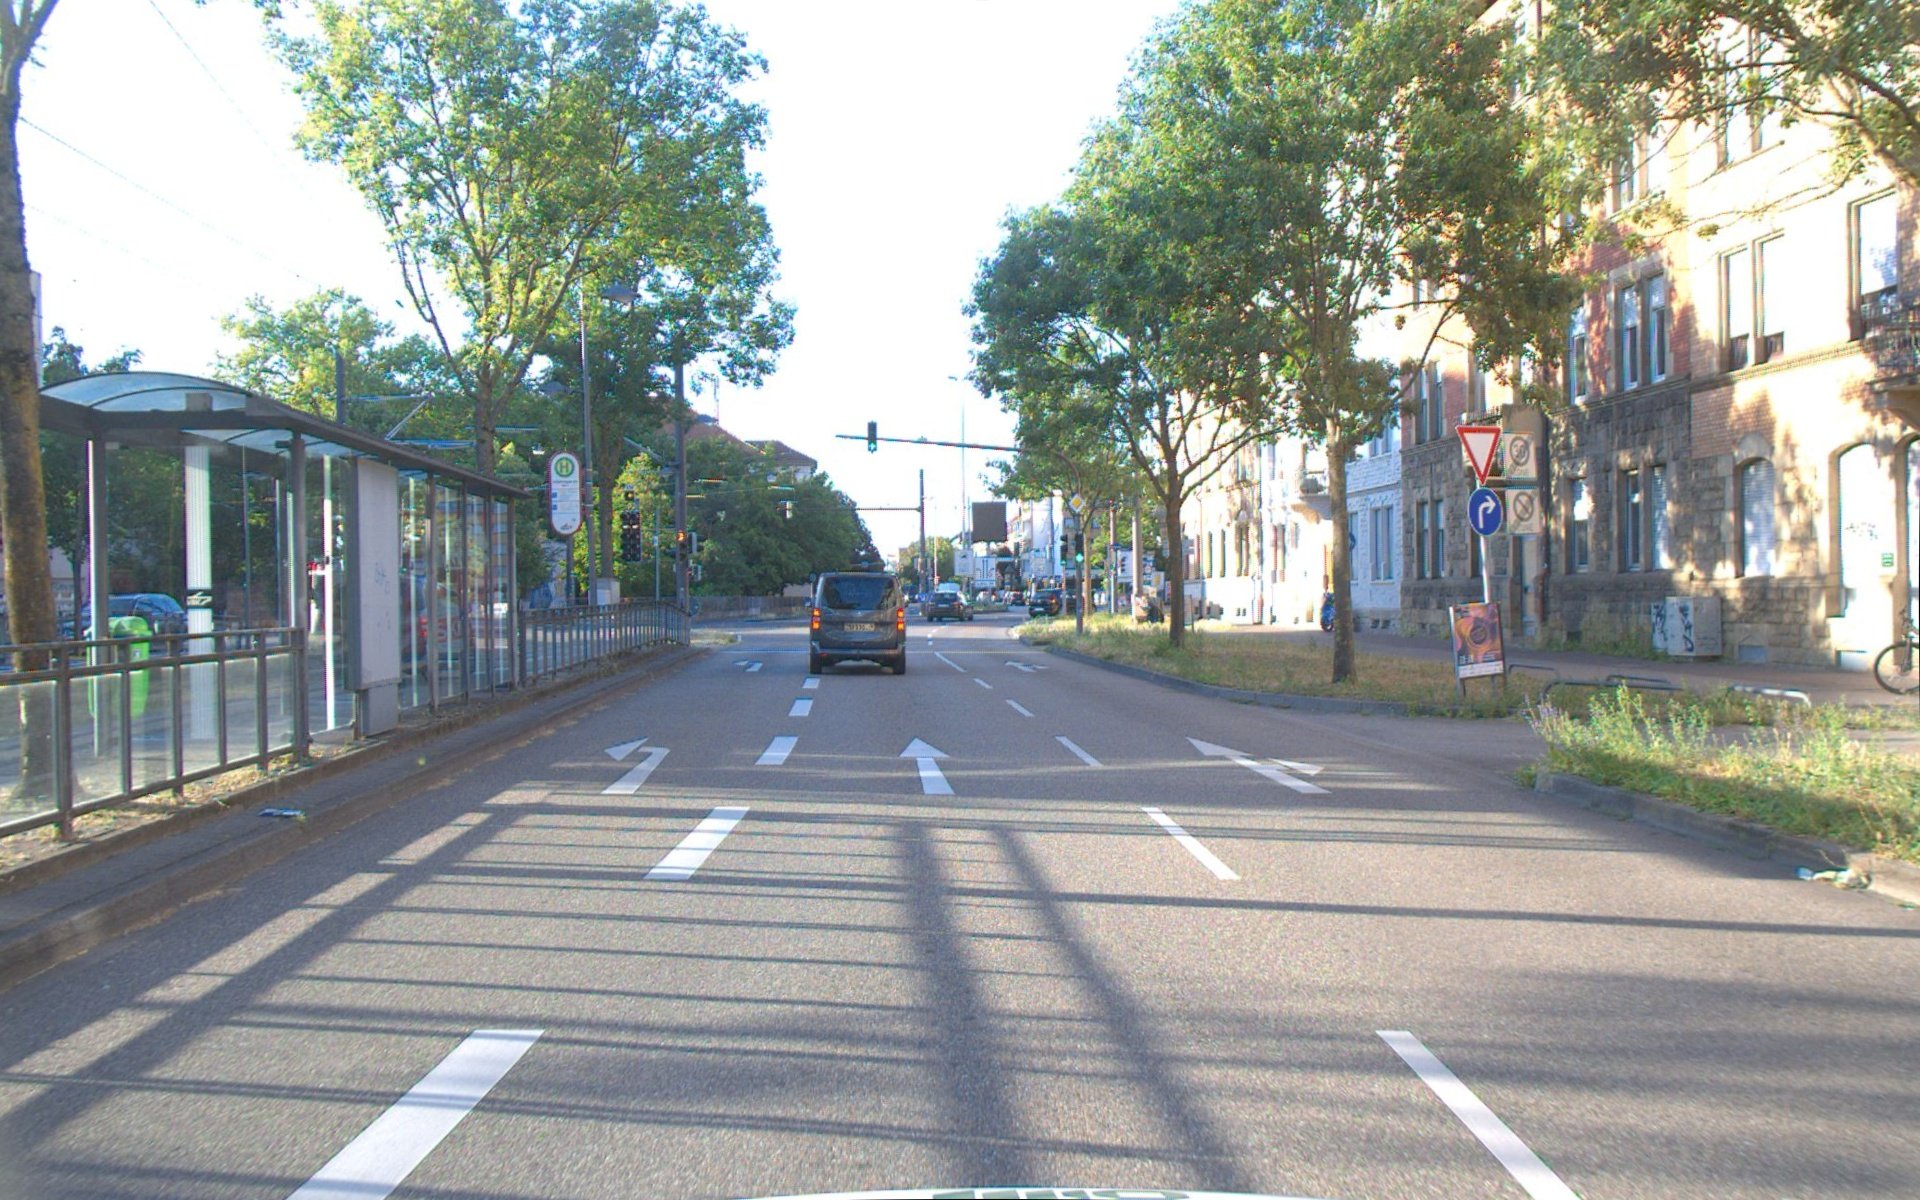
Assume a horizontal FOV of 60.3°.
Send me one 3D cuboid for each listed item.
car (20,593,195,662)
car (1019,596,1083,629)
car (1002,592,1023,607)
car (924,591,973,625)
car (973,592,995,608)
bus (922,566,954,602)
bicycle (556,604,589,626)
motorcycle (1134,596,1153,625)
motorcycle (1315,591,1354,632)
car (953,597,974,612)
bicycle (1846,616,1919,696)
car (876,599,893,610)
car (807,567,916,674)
[{"bbox_3d":[-20.932,0.624,40.869,1.954,1.579,4.891,-1,0,-3],"label":"car"},{"bbox_3d":[4.413,0.565,79.593,1.953,1.537,4.000,1,0,21],"label":"car"},{"bbox_3d":[5.815,-0.048,182.913,1.954,1.685,4.297,-1,0,-3],"label":"car"},{"bbox_3d":[-0.540,0.380,79.266,1.806,1.571,3.634,-1,0,8],"label":"car"},{"bbox_3d":[2.769,-0.014,187.979,1.955,1.685,4.293,-1,0,-6],"label":"car"},{"bbox_3d":[-3.061,-2.143,223.704,3.227,4.698,9.984,1,0,-7],"label":"bus"},{"bbox_3d":[-20.776,0.800,88.616,0.549,1.162,1.710,-1,0,44],"label":"bicycle"},{"bbox_3d":[6.801,0.395,61.443,0.591,1.062,1.745,-1,0,3],"label":"motorcycle"},{"bbox_3d":[11.317,0.343,50.016,0.543,1.235,2.070,1,0,-5],"label":"motorcycle"},{"bbox_3d":[0.377,0.473,187.115,1.955,1.685,4.293,-1,0,-6],"label":"car"},{"bbox_3d":[12.177,0.691,20.807,0.854,0.932,2.083,-2,0,-2],"label":"bicycle"},{"bbox_3d":[-10.691,0.635,234.309,1.952,1.623,4.002,-1,0,3],"label":"car"},{"bbox_3d":[-2.005,0.372,32.527,1.955,1.934,4.294,1,0,-6],"label":"car"}]
